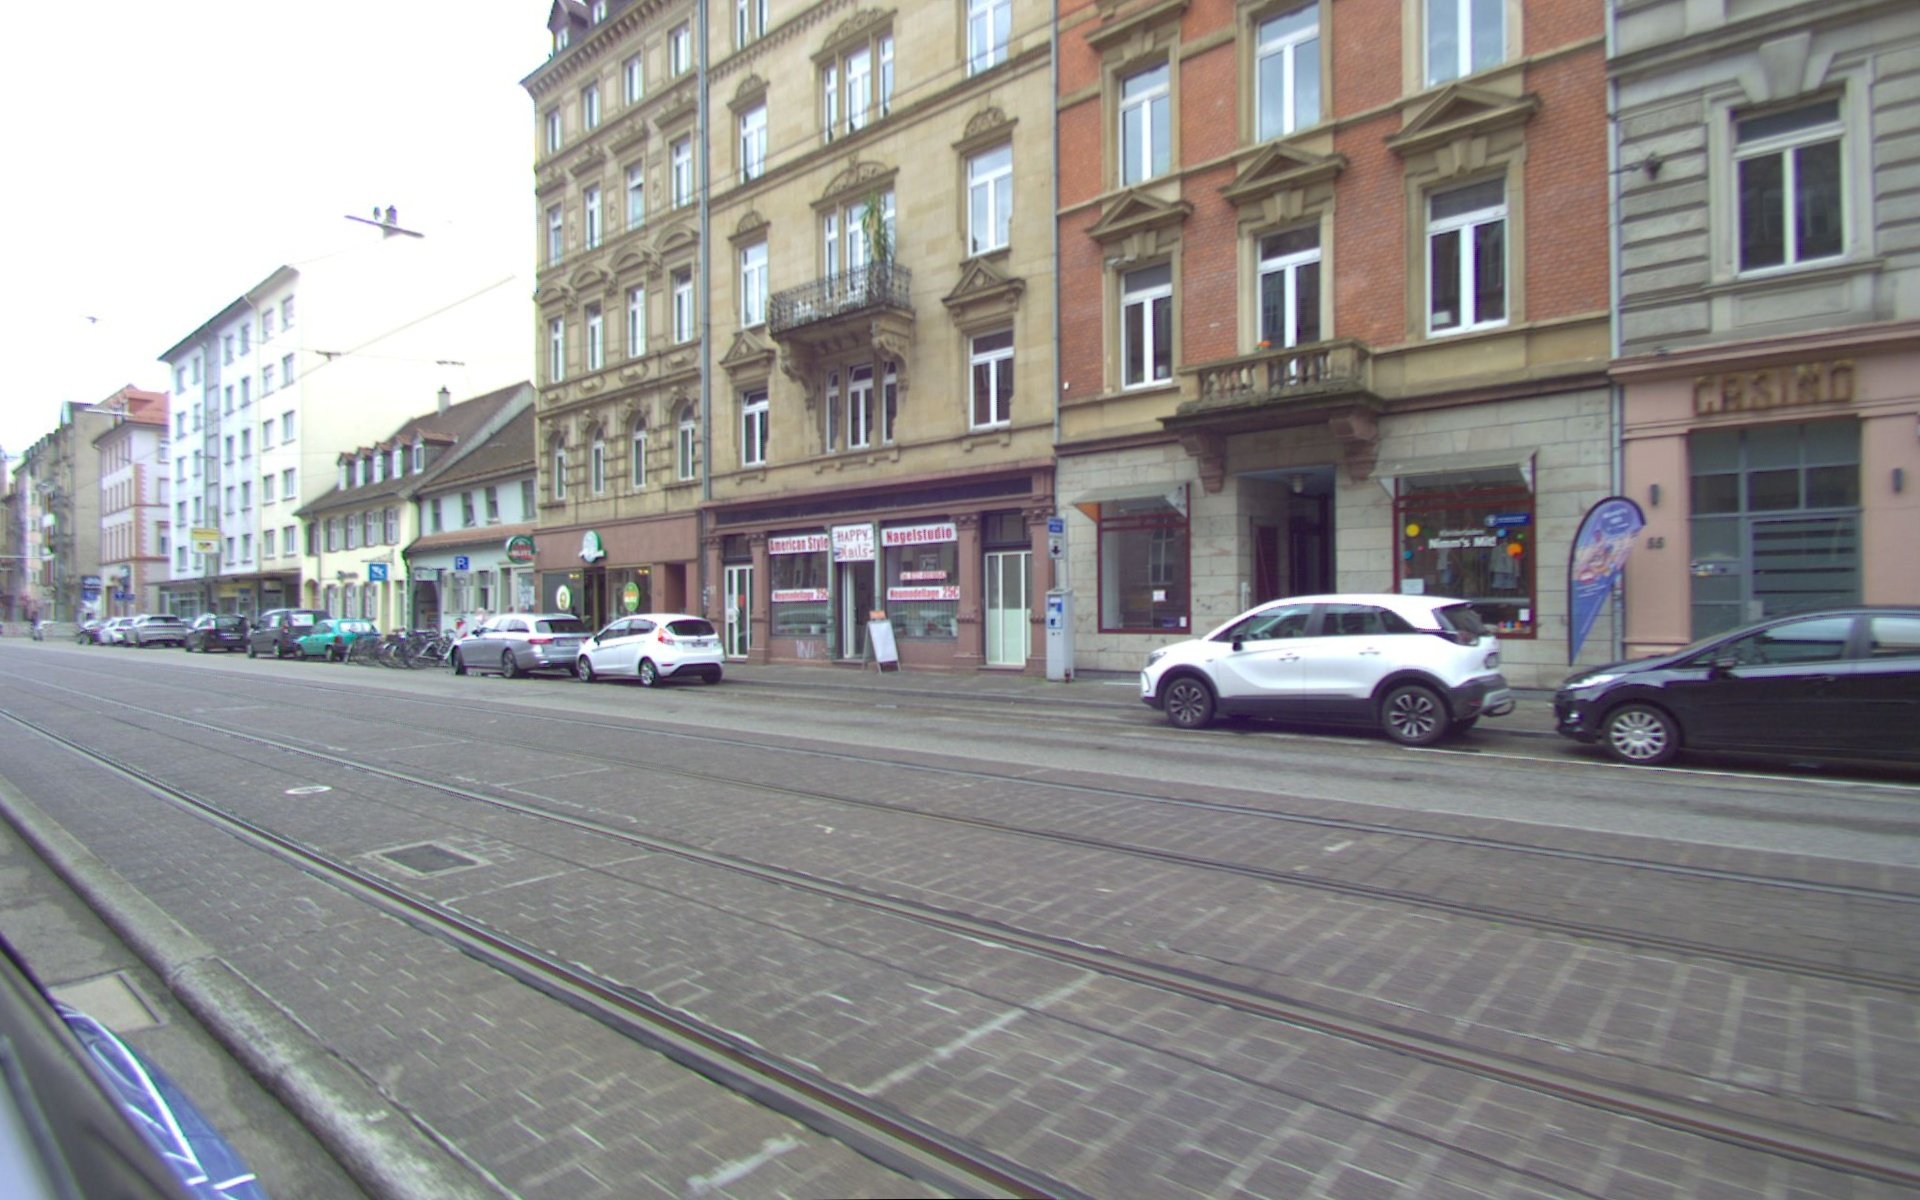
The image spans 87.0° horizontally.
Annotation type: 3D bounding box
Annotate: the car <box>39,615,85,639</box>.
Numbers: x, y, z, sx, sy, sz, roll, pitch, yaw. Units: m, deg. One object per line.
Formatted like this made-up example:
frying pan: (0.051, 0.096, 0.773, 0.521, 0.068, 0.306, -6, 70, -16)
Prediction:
car: (-61.607, 1.850, 69.420, 3.998, 1.574, 1.843, -1, -2, 41)

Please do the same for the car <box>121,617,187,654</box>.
car: (-40.704, 1.749, 51.098, 3.824, 1.745, 1.904, -1, 0, 41)

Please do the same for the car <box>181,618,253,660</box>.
car: (-32.299, 1.632, 43.963, 4.180, 1.684, 1.682, -1, 0, 42)

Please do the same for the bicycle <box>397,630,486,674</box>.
bicycle: (-14.375, 1.425, 28.108, 0.557, 1.106, 2.112, -1, 0, 41)

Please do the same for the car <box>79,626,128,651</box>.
car: (-50.537, 2.247, 59.691, 3.244, 1.353, 1.711, -1, 0, 41)

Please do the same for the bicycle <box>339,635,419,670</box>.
bicycle: (-17.992, 1.610, 31.372, 0.556, 0.940, 2.100, -1, 0, 38)

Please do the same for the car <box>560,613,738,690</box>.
car: (-6.639, 1.050, 21.422, 4.043, 1.476, 1.726, -2, -2, 41)

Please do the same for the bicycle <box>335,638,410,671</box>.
bicycle: (-18.960, 1.748, 32.680, 0.556, 0.940, 2.019, -1, 0, 38)

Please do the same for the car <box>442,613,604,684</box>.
car: (-10.499, 1.129, 24.182, 4.543, 1.533, 1.805, -2, -2, 41)

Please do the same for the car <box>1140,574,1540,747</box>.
car: (4.326, 0.641, 11.874, 4.043, 1.685, 1.726, -2, -2, 41)

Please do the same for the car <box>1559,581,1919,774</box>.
car: (7.667, 0.629, 8.852, 3.919, 1.500, 1.725, -2, -2, 42)

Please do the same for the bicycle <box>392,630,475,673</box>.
bicycle: (-14.865, 1.432, 28.621, 0.557, 1.106, 2.017, -1, 0, 41)

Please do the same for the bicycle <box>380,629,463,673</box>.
bicycle: (-15.423, 1.441, 29.011, 0.557, 1.106, 2.017, -1, 0, 41)

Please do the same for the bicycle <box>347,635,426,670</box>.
bicycle: (-17.483, 1.580, 30.897, 0.557, 0.940, 2.017, -1, 0, 42)

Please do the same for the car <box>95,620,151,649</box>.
car: (-45.957, 1.881, 55.538, 3.824, 1.462, 1.711, -1, 0, 41)

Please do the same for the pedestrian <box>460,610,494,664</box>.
pedestrian: (-14.762, 1.122, 30.927, 0.727, 1.629, 0.648, -1, 0, 40)

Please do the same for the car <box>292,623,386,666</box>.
car: (-21.057, 1.498, 34.270, 3.431, 1.391, 1.631, -2, -2, 38)

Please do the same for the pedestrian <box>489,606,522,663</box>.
pedestrian: (-14.099, 1.046, 31.381, 0.753, 1.725, 0.648, -1, 0, 40)

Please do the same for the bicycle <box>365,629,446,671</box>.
bicycle: (-16.359, 1.456, 29.911, 0.557, 1.106, 2.017, -1, 0, 41)

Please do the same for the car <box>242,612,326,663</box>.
car: (-24.934, 1.362, 37.283, 3.919, 1.770, 1.684, -1, -2, 43)

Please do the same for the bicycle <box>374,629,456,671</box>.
bicycle: (-15.881, 1.448, 29.526, 0.557, 1.106, 2.017, -1, 0, 41)
